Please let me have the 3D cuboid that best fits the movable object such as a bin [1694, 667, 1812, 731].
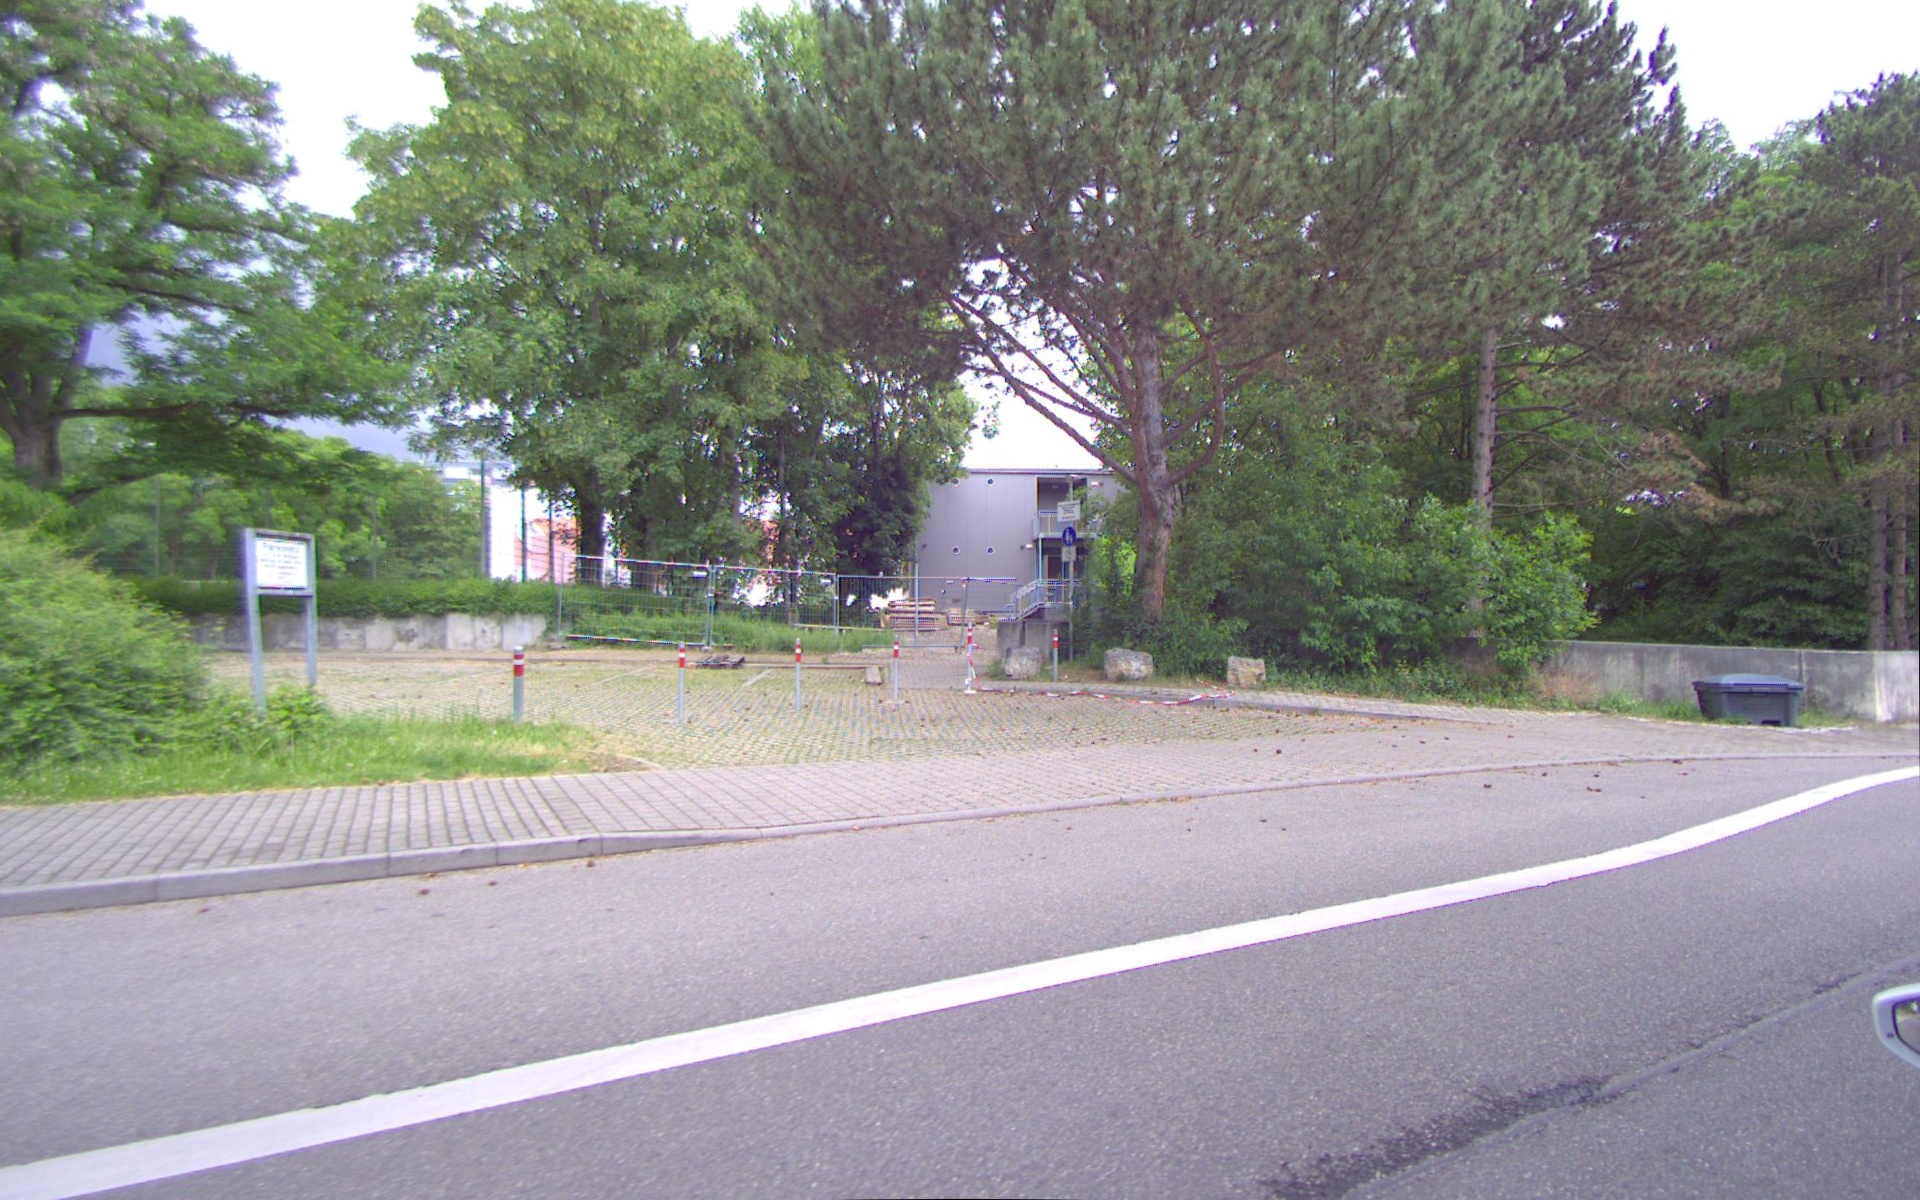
[{"bbox_3d":[11.394,1.400,14.477,1.126,0.770,1.048,2,-1,27],"label":"movable object such as a bin"}]
